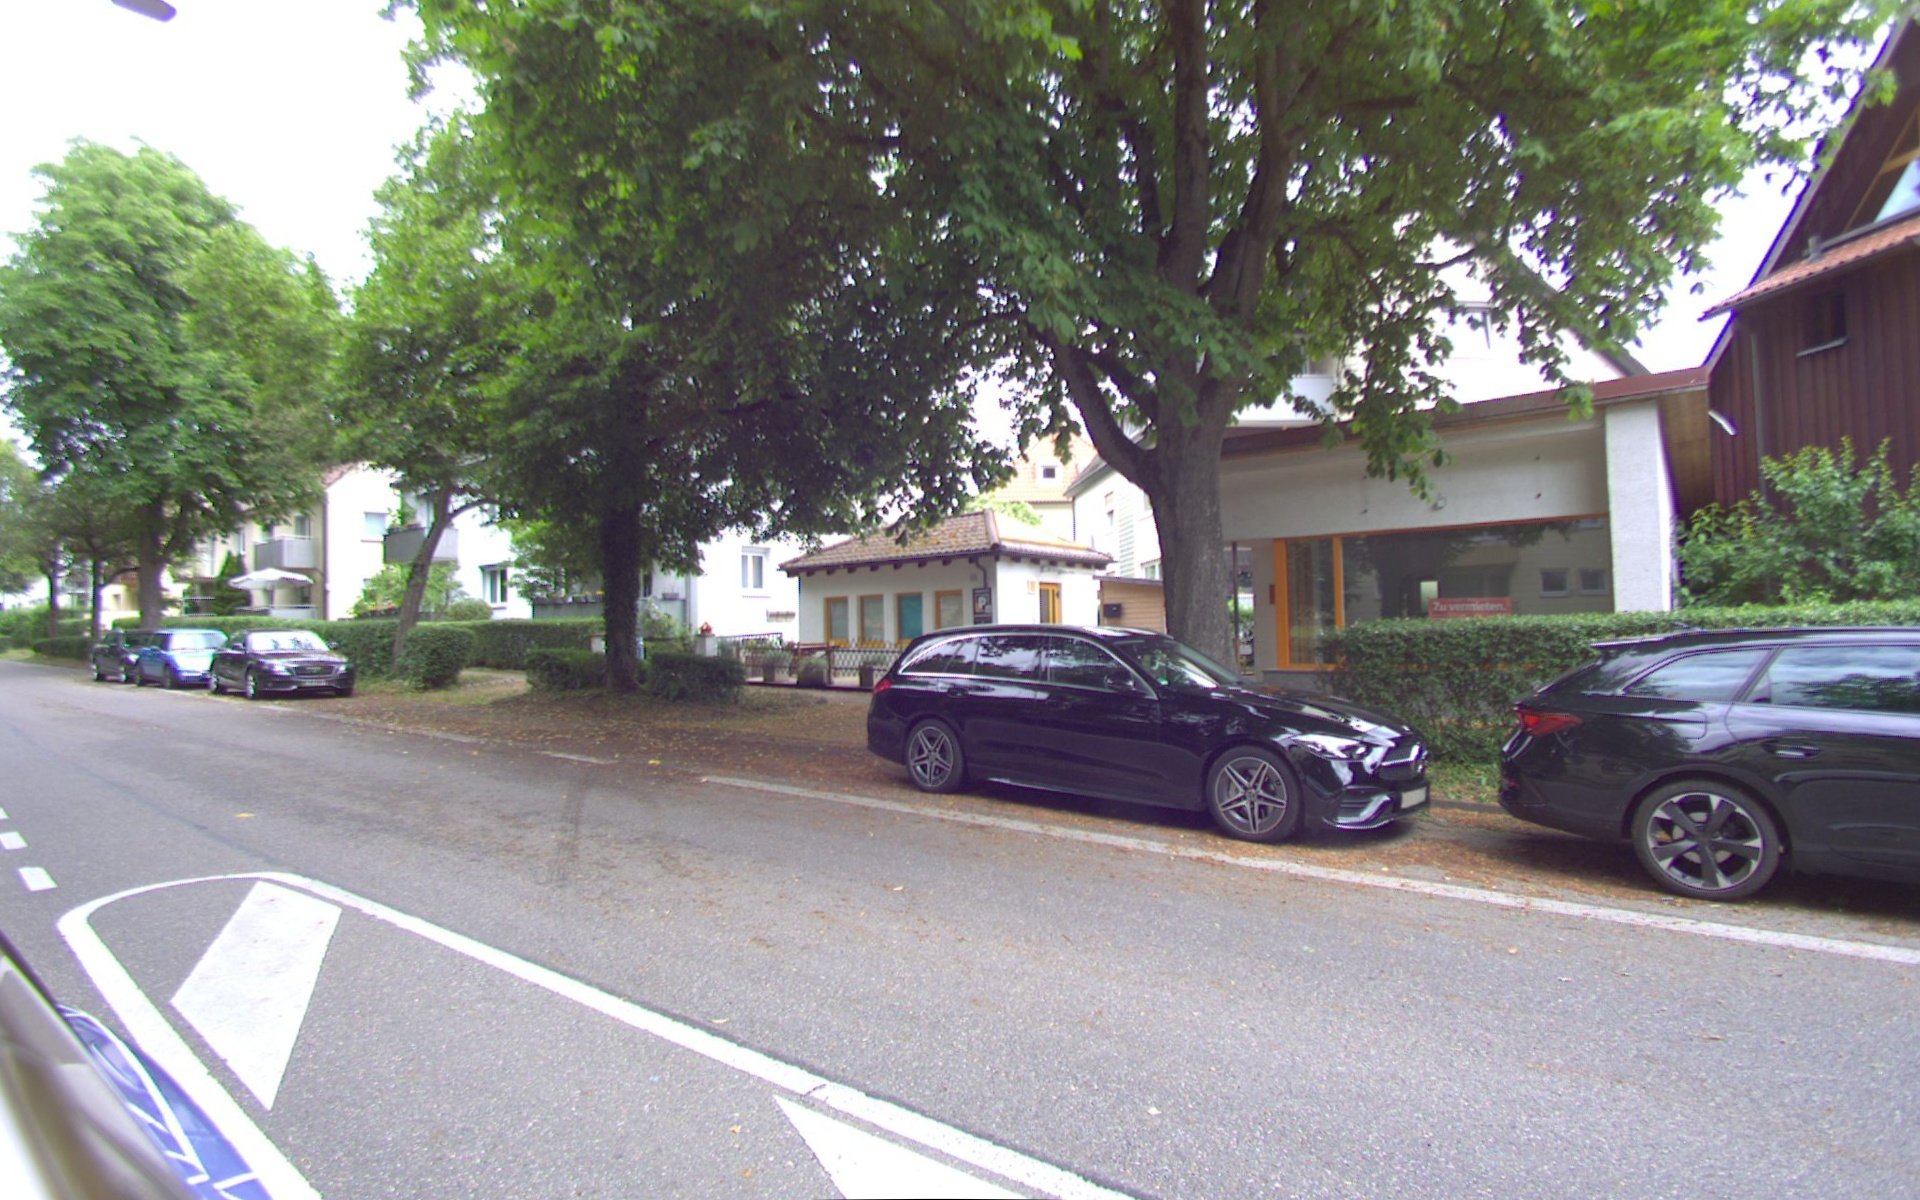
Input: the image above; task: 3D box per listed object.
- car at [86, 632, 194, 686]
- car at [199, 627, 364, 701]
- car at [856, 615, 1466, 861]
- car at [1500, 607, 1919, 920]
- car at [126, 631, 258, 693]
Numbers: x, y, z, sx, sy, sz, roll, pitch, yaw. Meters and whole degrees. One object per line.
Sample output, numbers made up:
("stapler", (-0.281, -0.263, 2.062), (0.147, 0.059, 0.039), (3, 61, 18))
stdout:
("car", (-22.405, 1.585, 27.605), (3.767, 1.387, 1.521), (-2, -3, 39))
("car", (-14.433, 1.316, 21.426), (4.592, 1.387, 1.828), (-3, -3, 42))
("car", (1.371, 0.885, 8.173), (4.590, 1.461, 1.727), (-1, -2, 40))
("car", (5.415, 0.778, 5.100), (4.508, 1.461, 1.728), (-1, -2, 39))
("car", (-18.810, 1.478, 24.728), (4.147, 1.387, 1.617), (-2, -3, 39))
